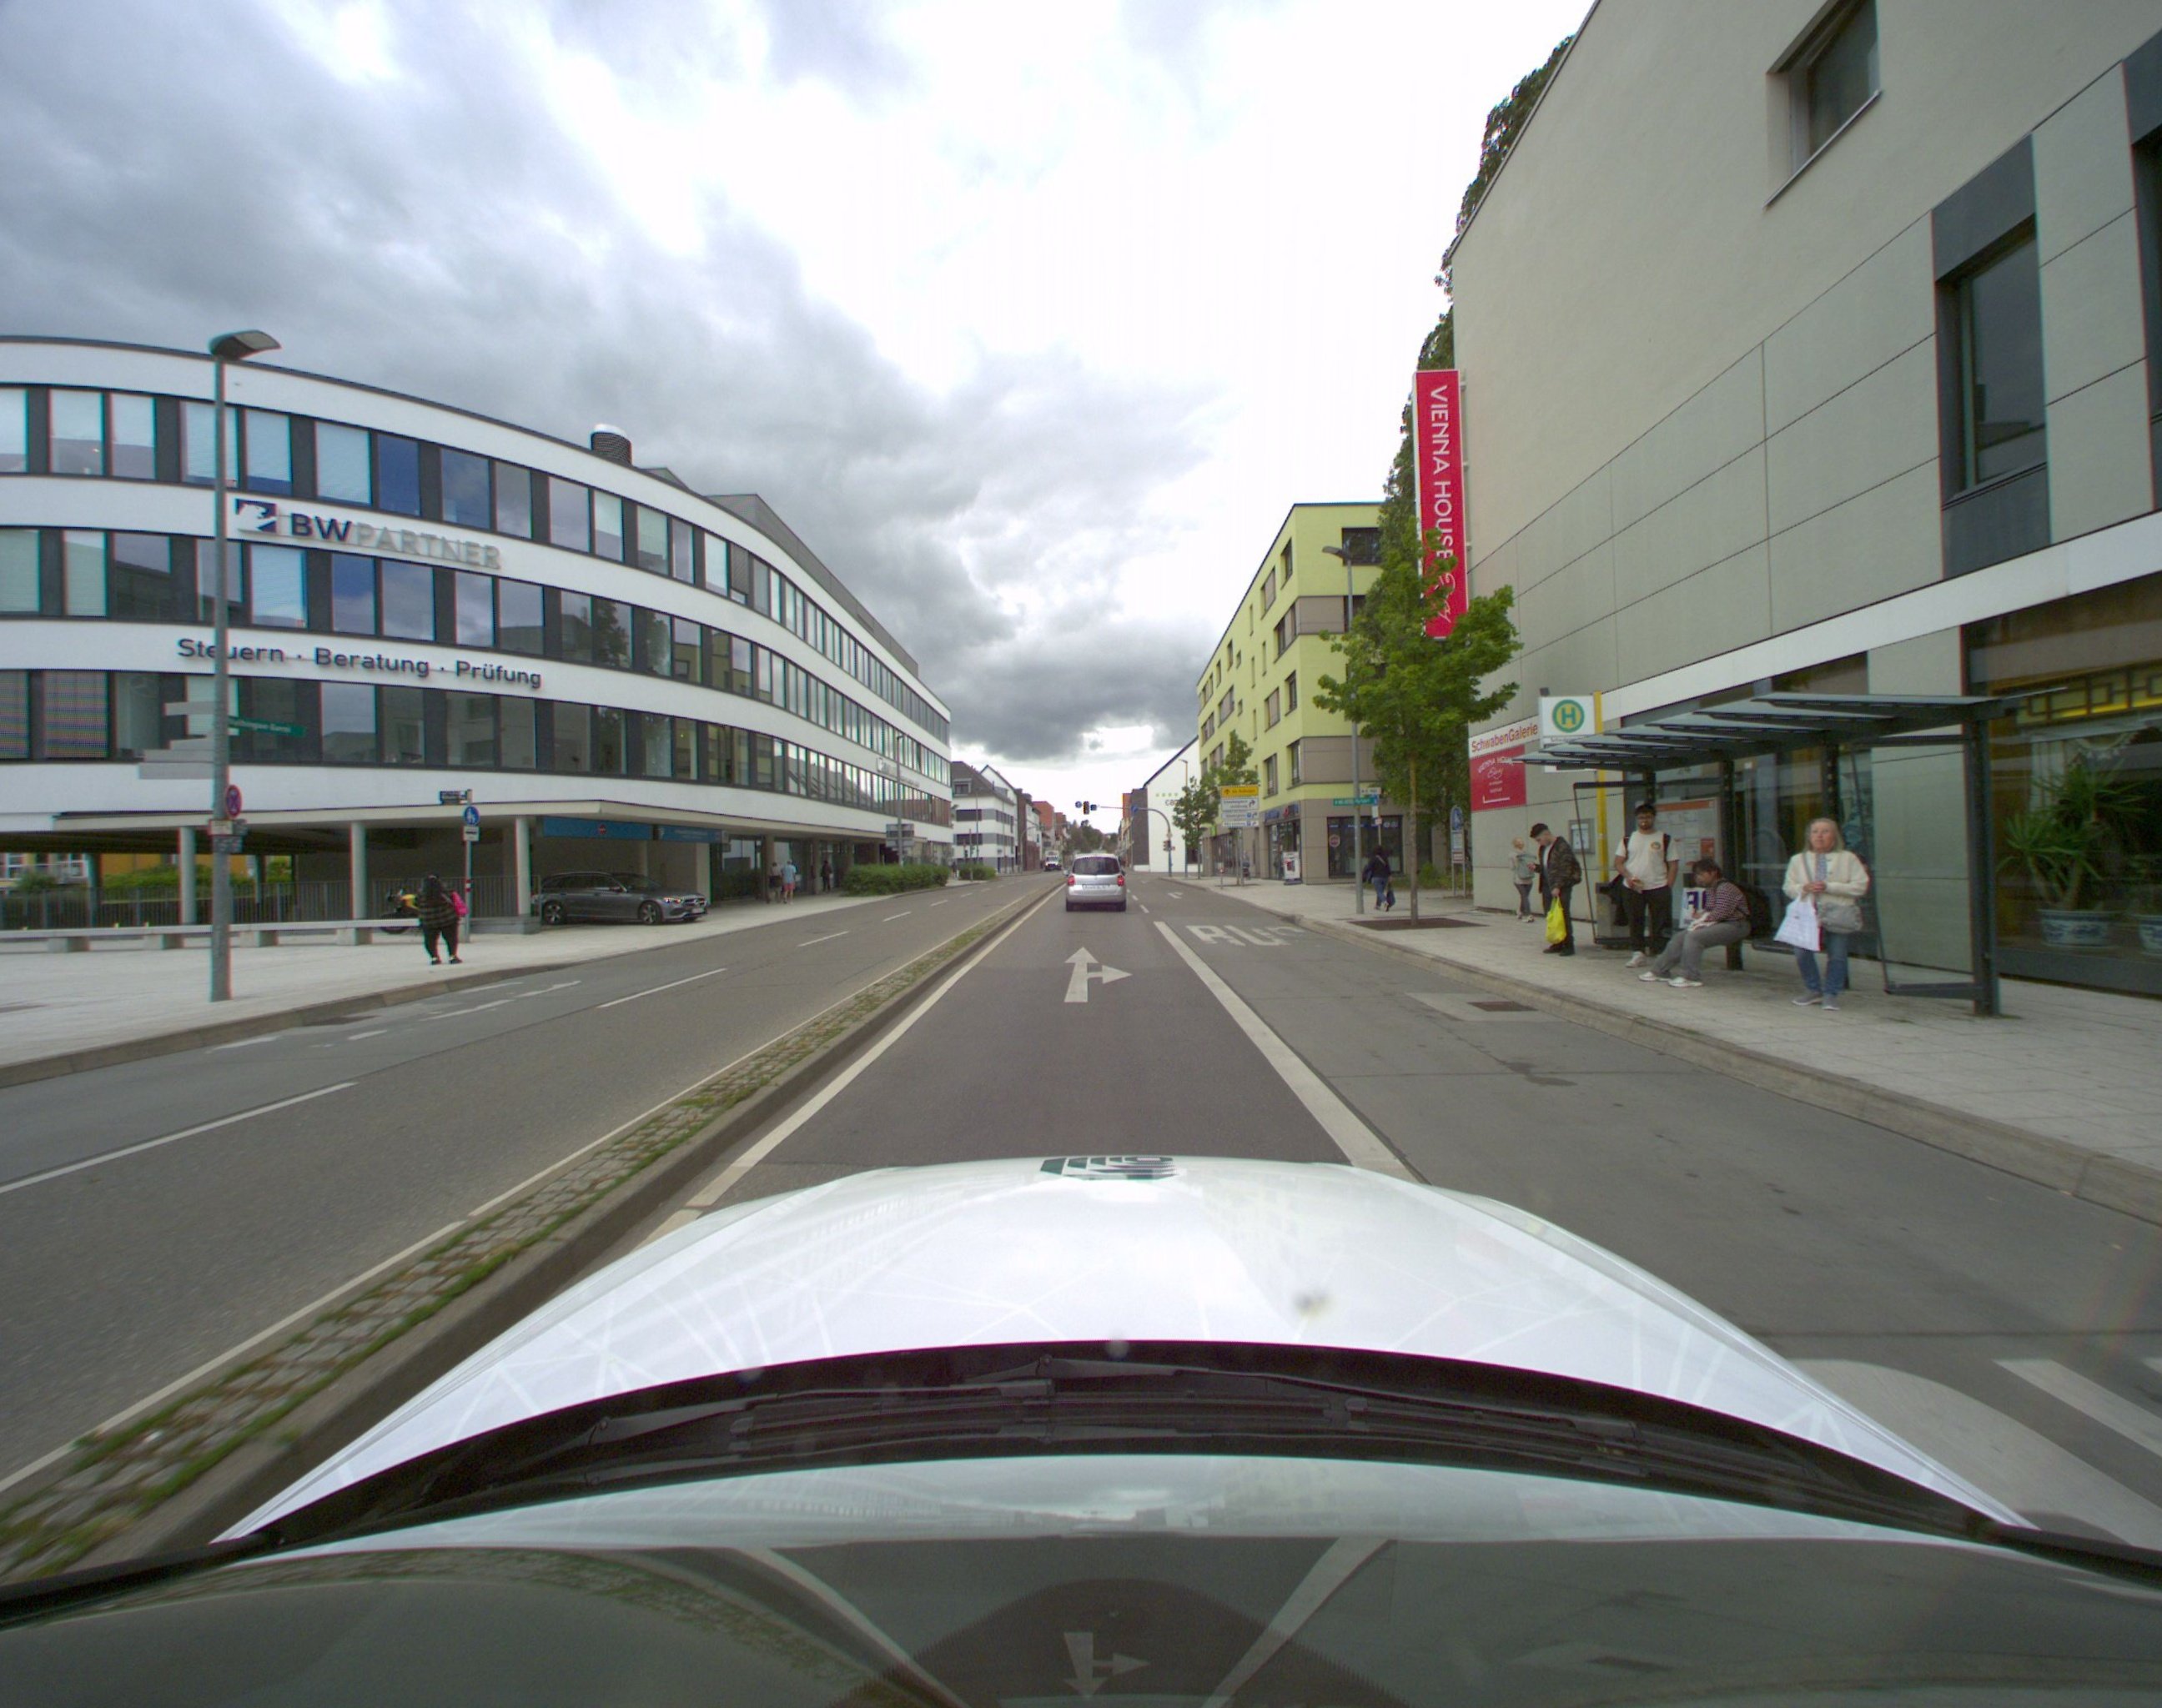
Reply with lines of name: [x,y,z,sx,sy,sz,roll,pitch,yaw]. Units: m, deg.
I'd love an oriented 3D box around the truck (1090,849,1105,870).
truck: [3.063,0.956,152.313,2.586,3.857,6.851,-1,0,2]

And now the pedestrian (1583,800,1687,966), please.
pedestrian: [6.234,0.313,9.211,0.576,1.769,0.858,-2,-1,6]

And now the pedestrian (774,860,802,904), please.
pedestrian: [-11.368,1.058,31.604,0.727,1.674,0.932,0,-1,3]

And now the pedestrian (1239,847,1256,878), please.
pedestrian: [8.984,0.455,43.974,0.693,1.593,0.603,-3,-1,0]

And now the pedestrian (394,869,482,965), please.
pedestrian: [-10.874,1.043,13.797,0.826,1.567,0.814,0,-1,6]

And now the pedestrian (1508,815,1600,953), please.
pedestrian: [6.036,0.377,10.435,0.717,1.683,0.734,-2,-1,6]

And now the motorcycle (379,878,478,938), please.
motorcycle: [-15.269,1.247,19.079,1.846,1.333,0.637,0,-1,4]

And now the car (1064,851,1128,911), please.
car: [0.442,0.714,23.534,1.700,1.579,4.001,0,0,1]

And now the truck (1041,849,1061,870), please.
truck: [-4.332,0.837,120.400,2.426,2.953,8.366,0,0,1]

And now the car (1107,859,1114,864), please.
car: [7.937,2.074,220.205,1.806,1.354,4.002,-2,0,2]

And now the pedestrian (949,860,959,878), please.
pedestrian: [-12.155,1.405,78.073,0.882,1.669,0.811,-2,2,-11]

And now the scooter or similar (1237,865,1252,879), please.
scooter or similar: [8.693,0.958,43.248,0.590,0.673,0.824,-3,0,0]

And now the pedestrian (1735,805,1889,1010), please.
pedestrian: [6.049,0.425,6.781,0.576,1.591,0.734,-2,-1,6]

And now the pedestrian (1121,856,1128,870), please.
pedestrian: [6.030,1.254,113.720,0.804,1.787,0.861,-4,0,2]

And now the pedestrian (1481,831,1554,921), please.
pedestrian: [7.967,0.396,14.894,0.866,1.583,0.804,-2,-1,0]

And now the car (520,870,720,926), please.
car: [-12.624,1.180,22.475,4.435,1.415,1.905,0,0,4]

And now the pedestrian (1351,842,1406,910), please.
pedestrian: [7.195,0.514,19.734,0.944,1.583,1.016,-2,-1,0]

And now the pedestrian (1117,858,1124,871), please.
pedestrian: [5.731,1.464,117.681,0.886,1.787,0.785,-4,0,2]

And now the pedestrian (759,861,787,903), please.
pedestrian: [-12.254,1.107,32.455,0.727,1.613,0.932,0,-1,3]

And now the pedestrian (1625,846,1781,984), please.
pedestrian: [6.121,0.581,8.058,0.940,1.259,0.732,-2,-1,-2]

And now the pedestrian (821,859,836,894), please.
pedestrian: [-12.735,1.140,41.036,0.617,1.710,0.501,-1,-1,-29]

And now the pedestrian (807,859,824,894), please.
pedestrian: [-13.534,1.137,41.544,0.500,1.730,0.619,-2,-1,32]
